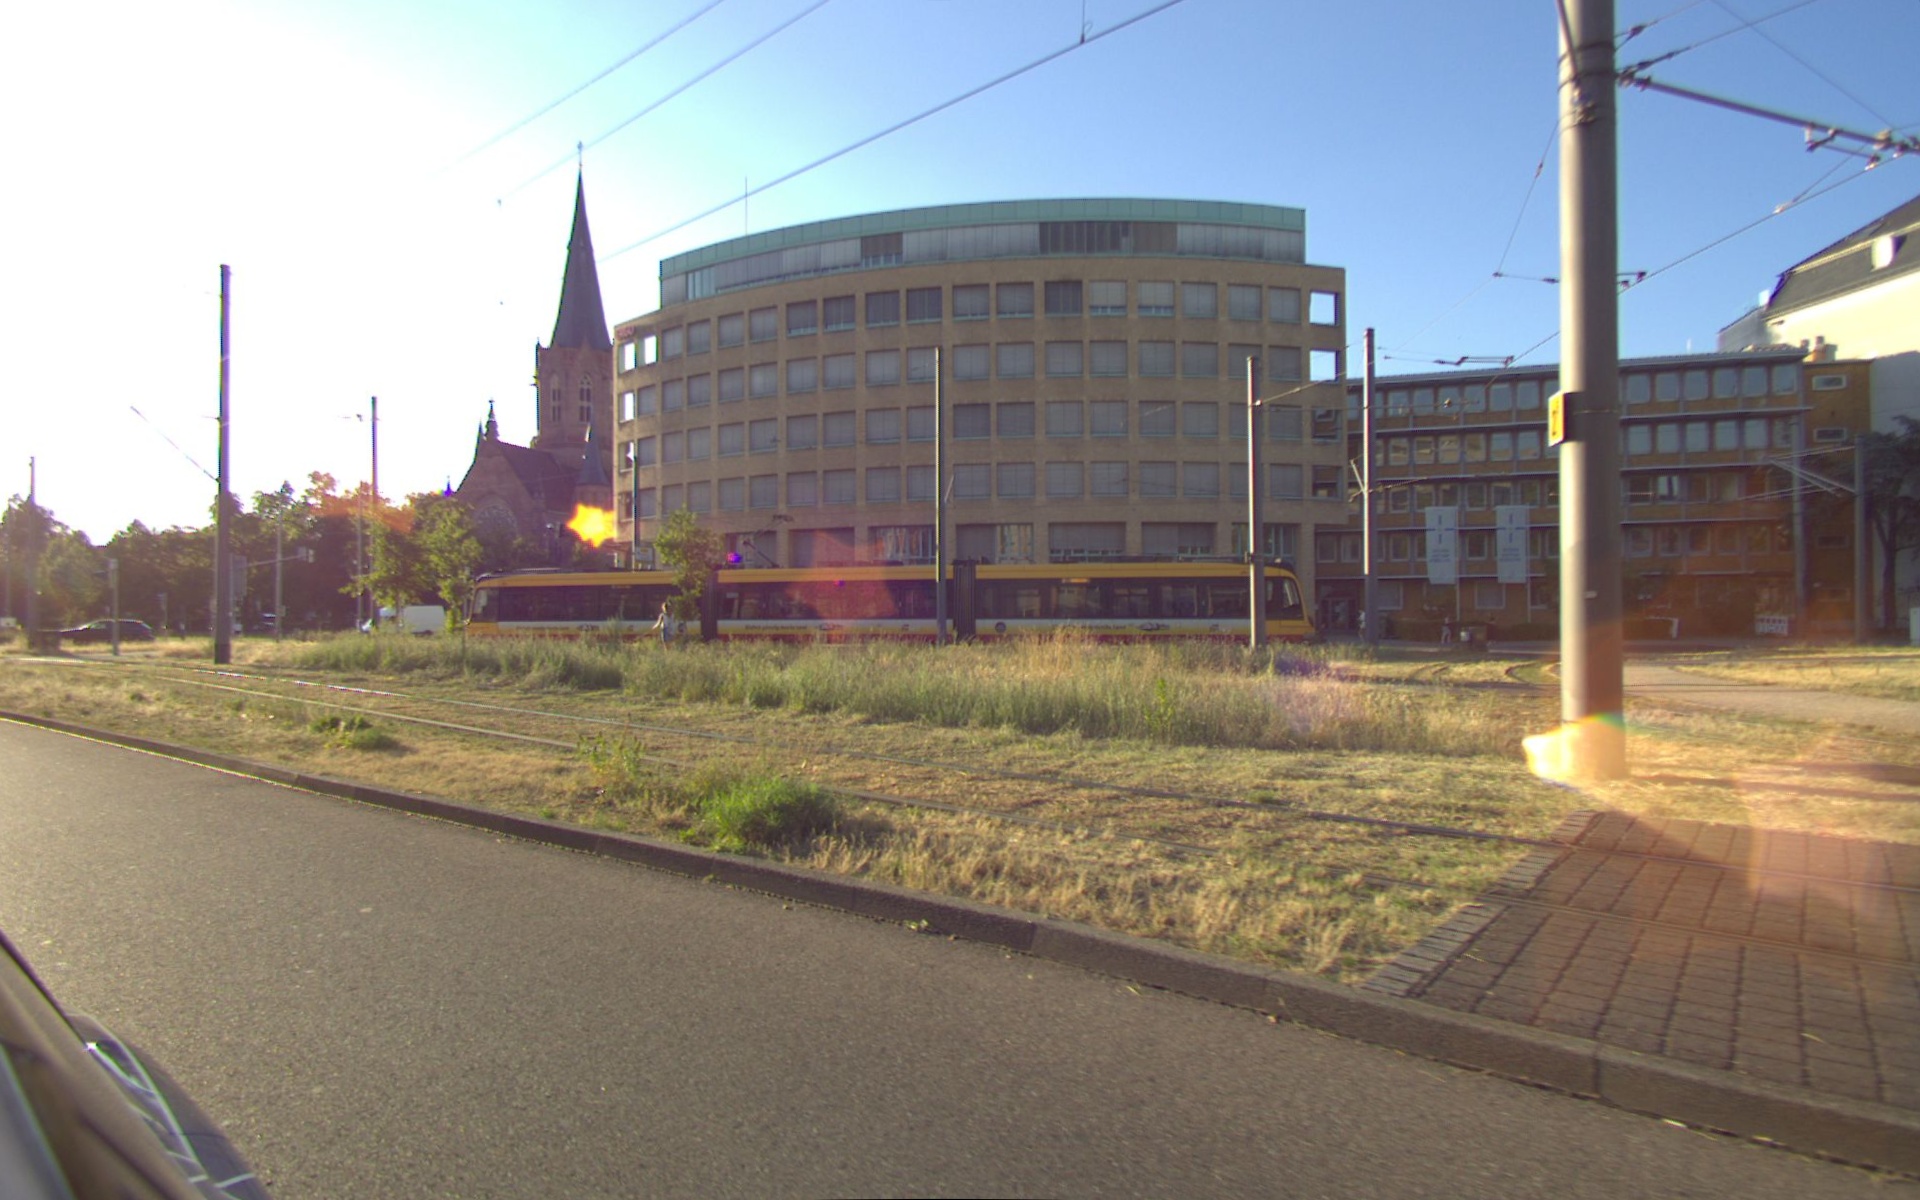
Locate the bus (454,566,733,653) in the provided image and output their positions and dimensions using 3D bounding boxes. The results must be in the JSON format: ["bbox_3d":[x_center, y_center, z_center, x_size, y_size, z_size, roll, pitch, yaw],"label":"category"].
[{"bbox_3d":[-16.482,0.483,45.523,12.030,3.482,3.739,-2,0,18],"label":"bus"}]

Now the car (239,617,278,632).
[{"bbox_3d":[-97.792,3.408,141.134,4.065,1.835,2.004,-1,0,-9],"label":"car"}]

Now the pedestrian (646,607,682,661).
[{"bbox_3d":[-8.164,0.935,27.913,0.698,1.470,0.664,-2,-1,37],"label":"pedestrian"}]

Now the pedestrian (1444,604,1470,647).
[{"bbox_3d":[24.766,1.264,50.432,0.934,2.028,0.847,-1,4,10],"label":"pedestrian"}]

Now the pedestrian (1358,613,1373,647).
[{"bbox_3d":[20.409,1.507,50.911,0.614,1.705,0.527,-2,-1,24],"label":"pedestrian"}]

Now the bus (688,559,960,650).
[{"bbox_3d":[-5.646,0.253,42.254,10.637,3.356,3.742,-2,0,15],"label":"bus"}]

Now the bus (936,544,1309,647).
[{"bbox_3d":[6.105,-0.078,39.096,13.583,3.388,3.743,-2,0,15],"label":"bus"}]

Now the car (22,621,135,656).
[{"bbox_3d":[-42.725,1.838,49.089,2.000,1.554,3.944,-2,-1,42],"label":"car"}]

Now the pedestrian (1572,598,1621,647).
[{"bbox_3d":[28.308,1.005,45.050,1.623,2.110,1.051,-2,-1,24],"label":"pedestrian"}]

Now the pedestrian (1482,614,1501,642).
[{"bbox_3d":[25.938,1.351,49.369,0.677,1.334,0.565,-2,-1,13],"label":"pedestrian"}]

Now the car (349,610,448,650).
[{"bbox_3d":[-43.666,2.305,79.020,2.290,2.900,7.158,-2,-1,18],"label":"car"}]

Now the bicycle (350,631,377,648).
[{"bbox_3d":[-46.202,3.051,78.400,0.487,1.191,1.957,-2,0,21],"label":"bicycle"}]
